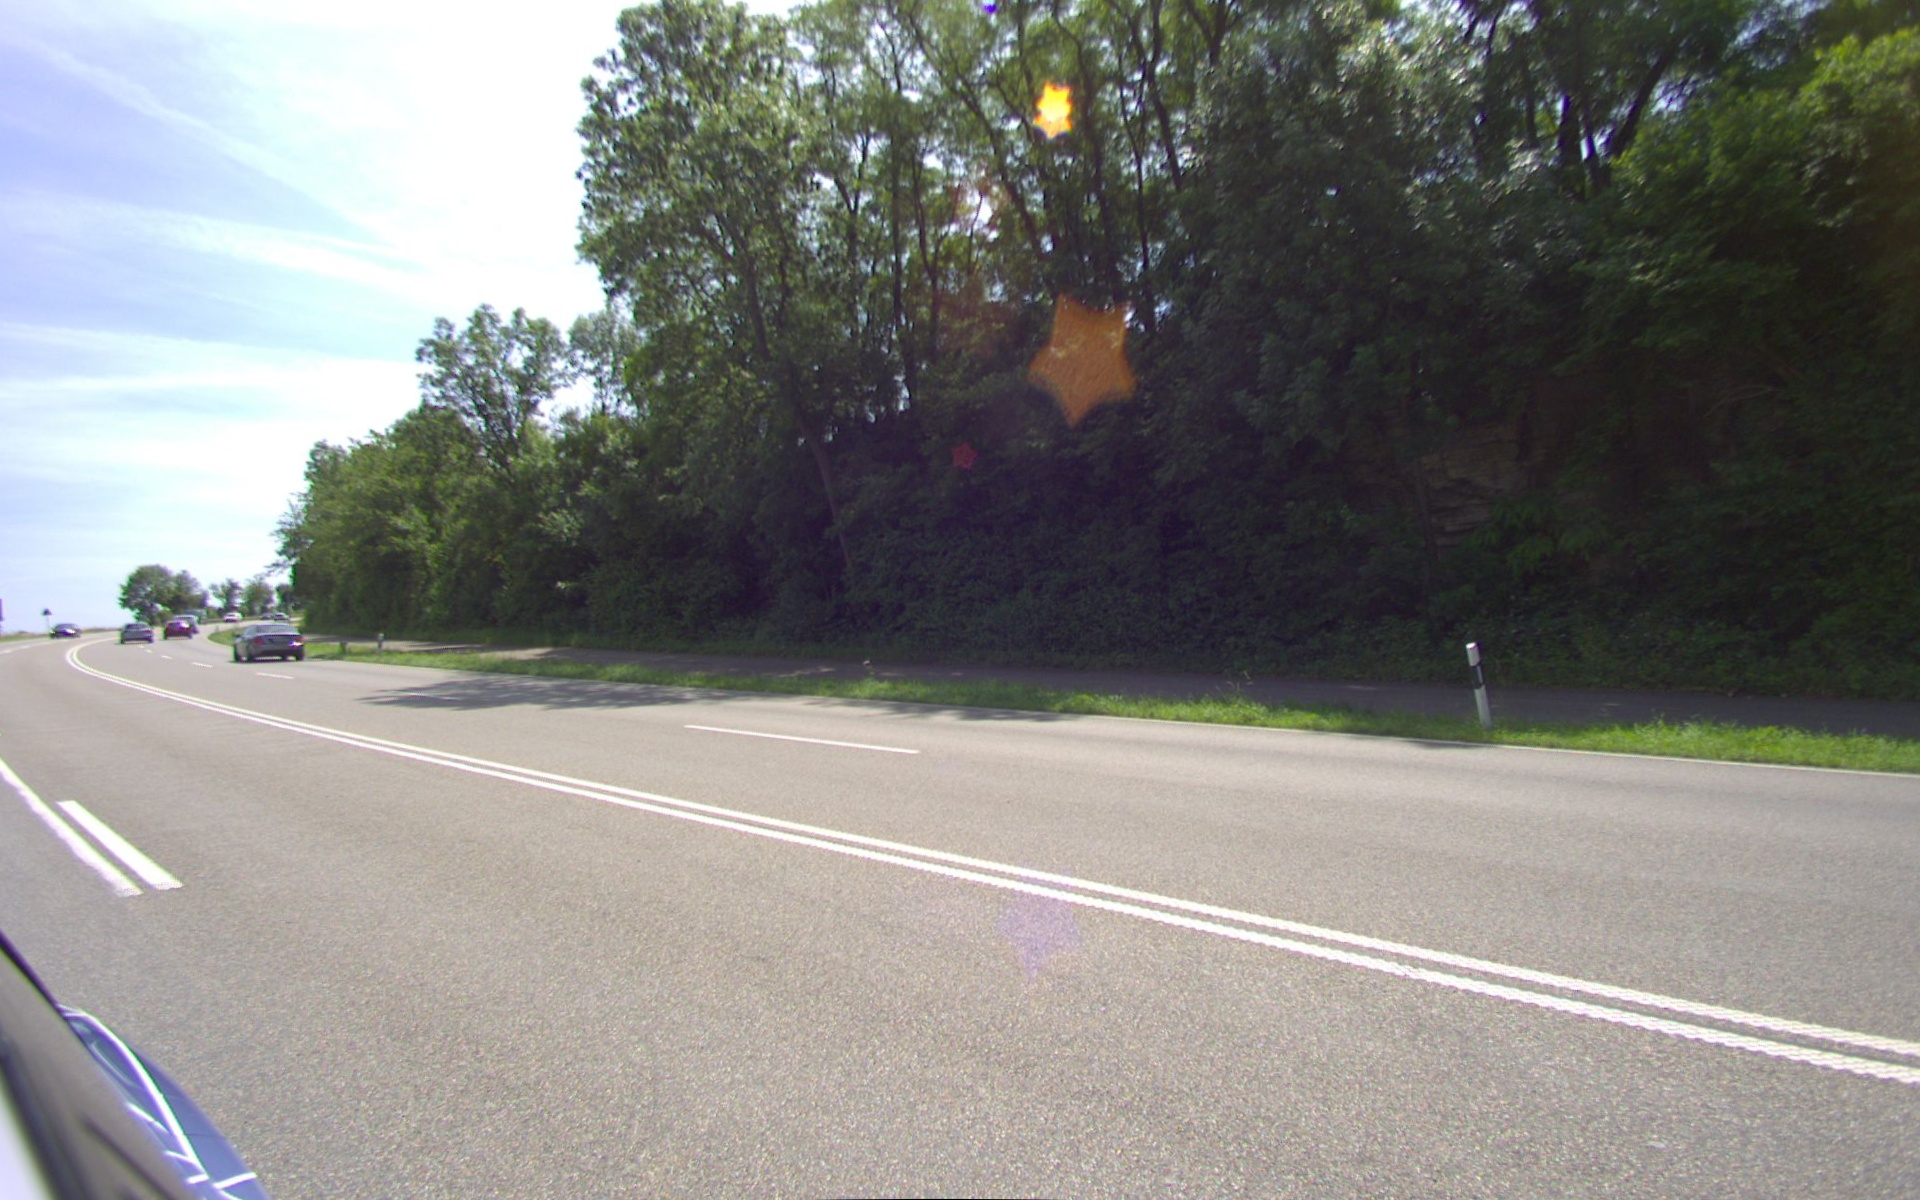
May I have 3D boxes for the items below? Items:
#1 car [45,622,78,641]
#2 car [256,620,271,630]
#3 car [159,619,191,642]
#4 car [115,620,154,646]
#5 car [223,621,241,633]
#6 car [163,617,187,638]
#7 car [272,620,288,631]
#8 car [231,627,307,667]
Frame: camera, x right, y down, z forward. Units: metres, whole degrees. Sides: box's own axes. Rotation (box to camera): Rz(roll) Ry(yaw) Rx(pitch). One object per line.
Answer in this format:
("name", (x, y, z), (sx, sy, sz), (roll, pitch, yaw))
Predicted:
("car", (-85.167, 2.975, 95.961), (1.967, 1.741, 4.009), (-1, 0, -37))
("car", (-140.150, 4.998, 203.653), (1.737, 1.874, 3.822), (-1, 0, -24))
("car", (-62.813, 2.412, 81.012), (1.967, 1.687, 4.009), (-1, 0, -37))
("car", (-58.120, 2.322, 71.285), (1.930, 1.741, 3.919), (-1, -1, -37))
("car", (-131.936, 4.839, 183.388), (1.821, 2.029, 3.885), (-1, 0, -24))
("car", (-79.238, 2.763, 102.166), (1.789, 2.029, 3.879), (-1, 0, -37))
("car", (-128.209, 4.840, 190.753), (1.965, 2.029, 4.013), (-1, 0, -27))
("car", (-26.073, 1.748, 38.140), (1.781, 1.398, 3.874), (-1, -1, -43))
